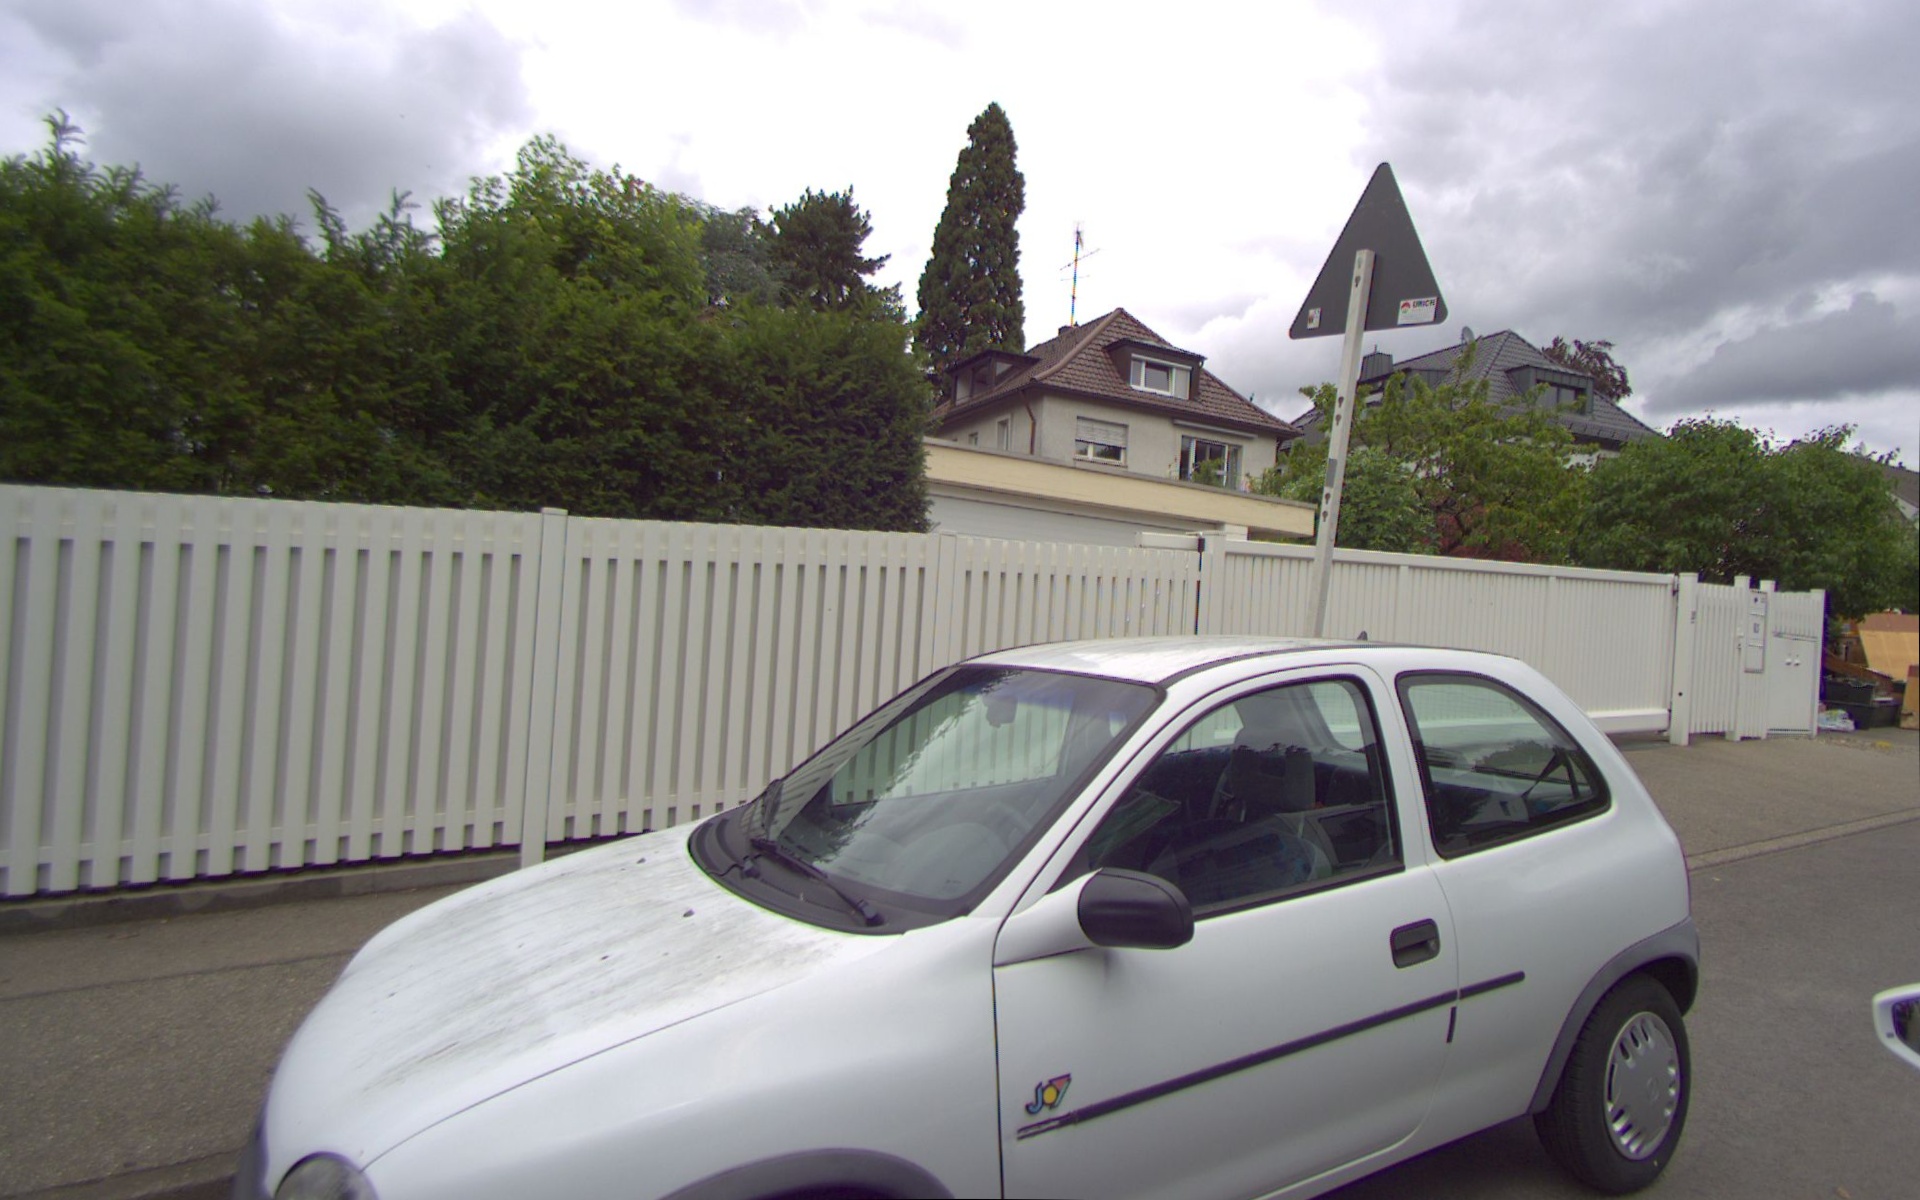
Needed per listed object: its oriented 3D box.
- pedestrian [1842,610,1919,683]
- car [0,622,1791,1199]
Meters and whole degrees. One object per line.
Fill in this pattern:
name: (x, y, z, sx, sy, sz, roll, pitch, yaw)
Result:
pedestrian: (16.554, 0.818, 17.920, 0.930, 1.241, 0.837, 2, 0, 18)
car: (0.255, 0.801, 2.573, 3.952, 1.452, 1.589, 1, -1, -29)
